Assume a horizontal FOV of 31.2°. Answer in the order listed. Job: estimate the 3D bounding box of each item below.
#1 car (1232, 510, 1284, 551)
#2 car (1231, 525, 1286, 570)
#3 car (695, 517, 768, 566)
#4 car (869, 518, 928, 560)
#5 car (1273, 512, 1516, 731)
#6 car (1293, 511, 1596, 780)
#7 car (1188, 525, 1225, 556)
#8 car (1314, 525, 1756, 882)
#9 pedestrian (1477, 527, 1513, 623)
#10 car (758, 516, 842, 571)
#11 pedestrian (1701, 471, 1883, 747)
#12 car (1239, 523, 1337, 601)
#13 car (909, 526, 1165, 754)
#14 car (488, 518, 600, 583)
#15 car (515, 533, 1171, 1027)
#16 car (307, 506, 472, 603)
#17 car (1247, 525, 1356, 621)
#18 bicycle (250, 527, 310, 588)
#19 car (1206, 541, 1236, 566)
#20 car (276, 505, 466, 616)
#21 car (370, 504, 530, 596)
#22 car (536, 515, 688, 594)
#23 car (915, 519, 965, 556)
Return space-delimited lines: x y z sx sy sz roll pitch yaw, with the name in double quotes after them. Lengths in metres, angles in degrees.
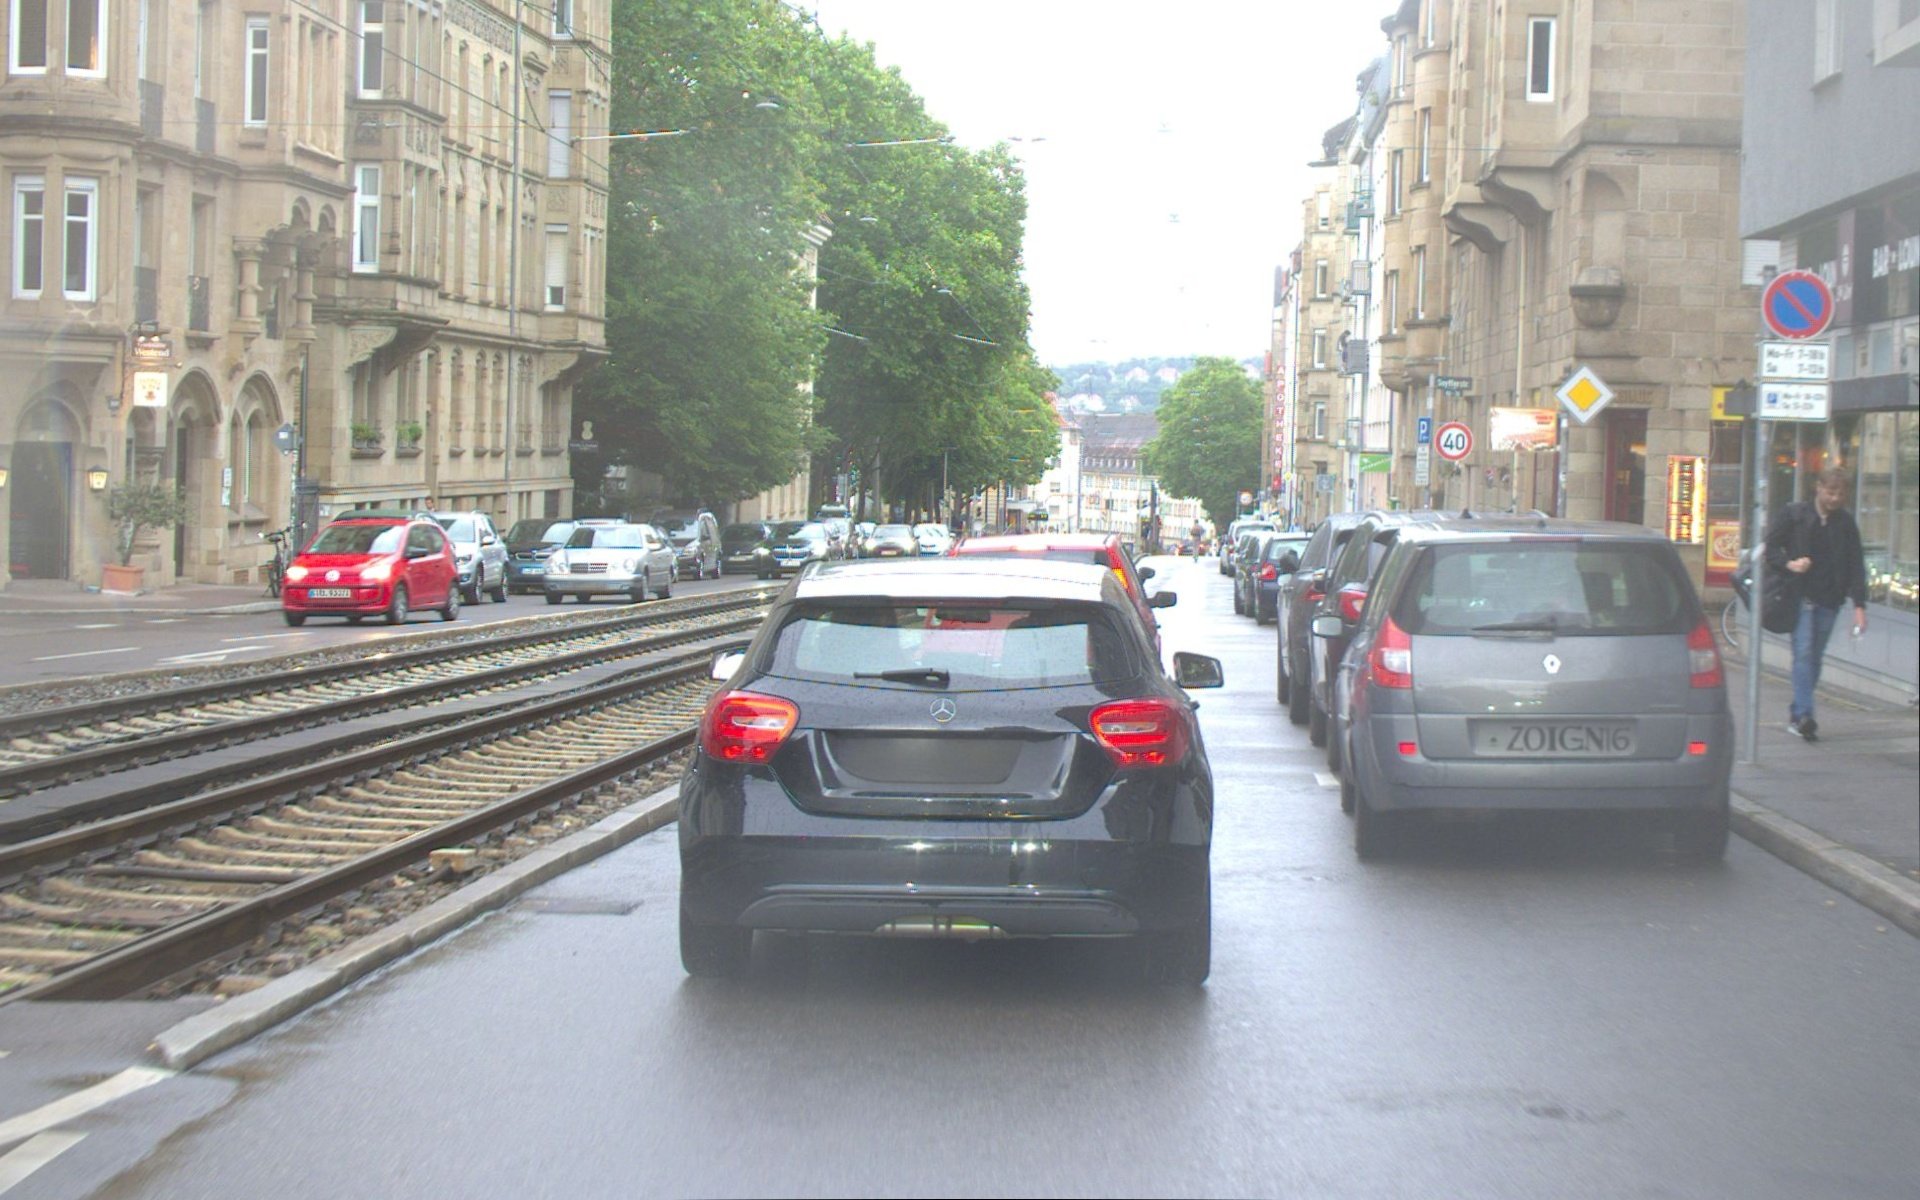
9.675 -2.270 111.842 1.613 1.313 4.000 1 1 4 "car"
9.046 -1.613 104.367 1.613 1.313 4.000 1 1 4 "car"
-6.711 -1.740 101.229 1.569 1.408 3.480 1 1 6 "car"
-2.083 -2.096 117.198 1.569 1.408 3.480 1 1 6 "car"
3.559 0.107 28.838 1.750 1.664 4.703 1 1 4 "car"
3.220 0.235 23.522 1.683 1.664 4.122 1 1 3 "car"
10.879 -2.642 151.625 1.613 1.313 4.000 1 1 4 "car"
2.782 0.404 17.575 1.765 1.553 4.745 1 1 4 "car"
8.188 -0.386 52.653 0.454 1.461 0.610 2 1 4 "pedestrian"
-4.154 -1.492 89.841 1.695 1.384 3.480 1 1 6 "car"
5.476 0.042 22.694 0.945 1.763 1.015 1 2 2 "pedestrian"
5.776 -0.698 60.794 1.613 1.313 4.000 1 1 4 "car"
0.632 0.222 24.957 1.649 1.447 4.000 2 2 4 "car"
-8.642 -1.051 71.628 1.569 1.312 3.480 1 1 6 "car"
-0.253 0.518 12.711 1.867 1.447 3.999 2 2 6 "car"
-9.432 -0.772 57.109 1.722 1.536 3.933 1 1 6 "car"
5.487 -0.466 55.622 1.622 1.479 4.000 1 1 4 "car"
-11.439 -0.725 57.863 0.598 0.997 2.080 0 1 0 "bicycle"
14.451 -2.605 190.684 1.613 1.313 4.000 1 1 4 "car"
-8.192 -0.575 48.099 1.681 1.491 3.518 1 1 7 "car"
-9.169 -0.920 62.153 1.807 1.591 4.525 1 1 6 "car"
-6.268 -0.854 62.358 1.807 1.356 4.762 1 1 6 "car"
-0.761 -2.446 133.693 1.569 1.408 3.480 1 1 6 "car"
